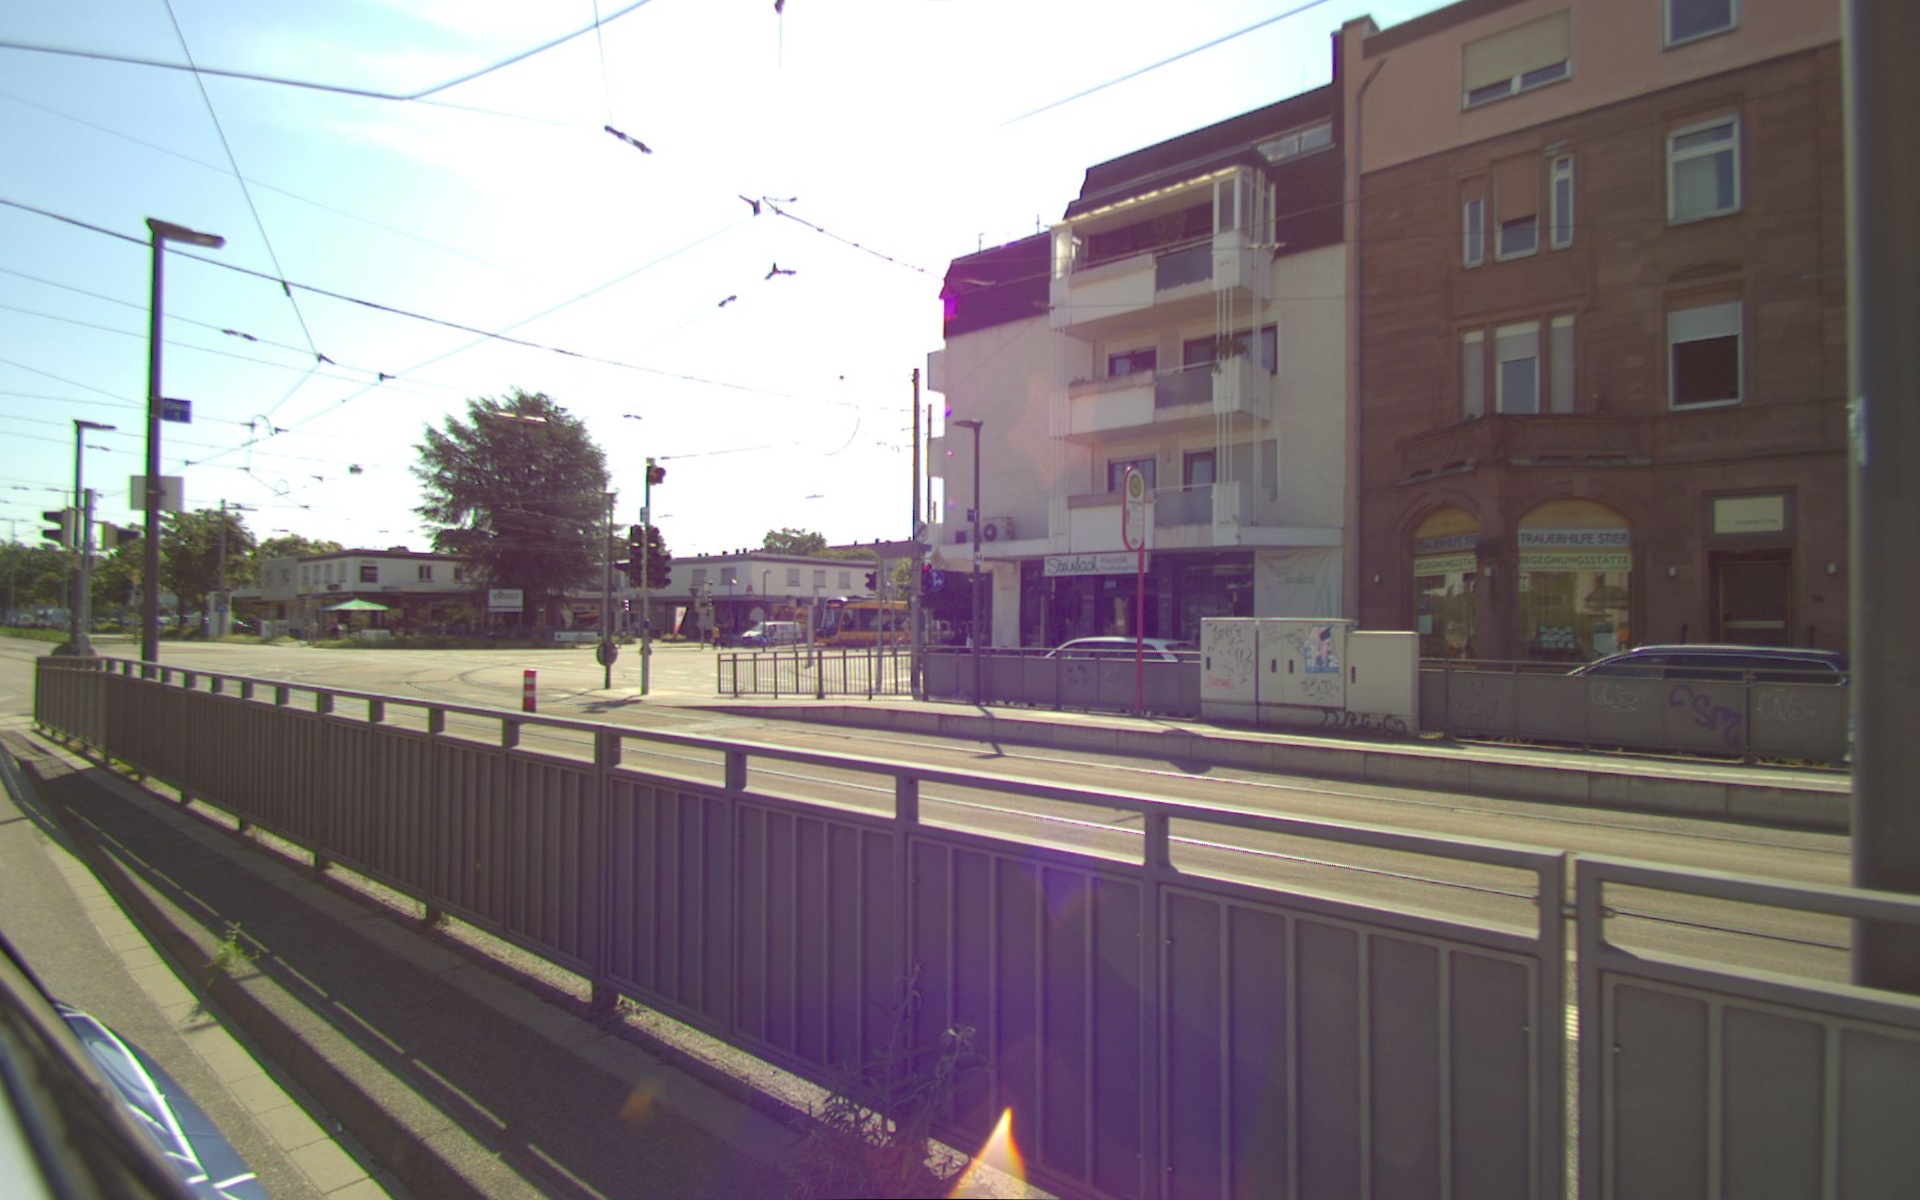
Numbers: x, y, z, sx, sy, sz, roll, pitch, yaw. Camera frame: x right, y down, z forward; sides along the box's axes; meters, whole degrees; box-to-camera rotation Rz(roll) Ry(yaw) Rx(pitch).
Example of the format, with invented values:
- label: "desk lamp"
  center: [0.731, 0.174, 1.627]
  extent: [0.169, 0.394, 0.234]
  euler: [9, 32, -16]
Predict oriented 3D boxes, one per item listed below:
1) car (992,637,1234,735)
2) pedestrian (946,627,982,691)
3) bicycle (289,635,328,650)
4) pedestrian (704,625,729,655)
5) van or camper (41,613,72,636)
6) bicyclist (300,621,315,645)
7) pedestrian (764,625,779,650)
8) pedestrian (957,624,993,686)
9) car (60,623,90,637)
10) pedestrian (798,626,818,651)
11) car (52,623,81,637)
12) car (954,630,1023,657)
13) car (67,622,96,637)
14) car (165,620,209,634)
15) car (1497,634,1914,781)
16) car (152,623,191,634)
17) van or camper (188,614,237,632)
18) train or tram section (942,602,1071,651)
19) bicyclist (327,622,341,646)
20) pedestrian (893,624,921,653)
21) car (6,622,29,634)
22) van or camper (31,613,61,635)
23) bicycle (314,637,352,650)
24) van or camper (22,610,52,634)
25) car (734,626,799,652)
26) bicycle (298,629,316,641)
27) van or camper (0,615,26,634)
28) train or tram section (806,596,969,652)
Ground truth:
- label: "car"
  center: [2.610, 1.410, 17.756]
  extent: [3.959, 1.442, 1.609]
  euler: [-1, -1, 40]
- label: "pedestrian"
  center: [0.107, 1.542, 26.690]
  extent: [0.867, 1.660, 0.681]
  euler: [1, -2, -5]
- label: "bicycle"
  center: [-43.237, 2.829, 67.198]
  extent: [2.100, 0.954, 0.537]
  euler: [2, -2, -31]
- label: "pedestrian"
  center: [-15.425, 2.513, 64.059]
  extent: [0.896, 1.851, 1.185]
  euler: [-1, -3, 41]
- label: "van or camper"
  center: [-105.046, 2.833, 117.655]
  extent: [4.837, 2.652, 2.013]
  euler: [-1, -3, 41]
- label: "bicyclist"
  center: [-43.267, 2.192, 67.112]
  extent: [0.753, 1.570, 0.633]
  euler: [3, -3, -34]
- label: "pedestrian"
  center: [-12.536, 2.503, 67.365]
  extent: [0.784, 1.639, 0.651]
  euler: [-2, -3, 41]
- label: "pedestrian"
  center: [0.411, 1.483, 27.689]
  extent: [0.732, 1.660, 0.671]
  euler: [-1, -3, 40]
- label: "car"
  center: [-96.946, 3.295, 110.874]
  extent: [4.283, 1.572, 1.868]
  euler: [-1, -3, 41]
- label: "pedestrian"
  center: [-10.444, 2.626, 69.608]
  extent: [0.813, 1.693, 1.079]
  euler: [-1, -3, 41]
- label: "car"
  center: [-100.939, 3.402, 114.277]
  extent: [4.230, 1.506, 1.868]
  euler: [-1, -3, 41]
- label: "car"
  center: [1.696, 2.521, 58.996]
  extent: [1.827, 1.511, 4.130]
  euler: [-1, -3, 40]
- label: "car"
  center: [-93.030, 3.128, 107.177]
  extent: [4.285, 1.506, 1.868]
  euler: [-1, 0, 43]
- label: "car"
  center: [-90.144, 3.176, 118.039]
  extent: [1.949, 1.581, 3.702]
  euler: [-1, -3, 39]
- label: "car"
  center: [8.720, 1.165, 12.156]
  extent: [3.809, 1.470, 1.557]
  euler: [-1, -3, 38]
- label: "car"
  center: [-99.452, 3.565, 127.702]
  extent: [1.711, 1.291, 3.579]
  euler: [-1, -2, 39]
- label: "van or camper"
  center: [-120.478, 3.742, 163.205]
  extent: [2.299, 2.751, 6.000]
  euler: [-1, -3, 43]
- label: "train or tram section"
  center: [4.089, 2.227, 82.719]
  extent: [2.767, 3.686, 13.720]
  euler: [-1, -3, 40]
- label: "bicyclist"
  center: [-41.780, 2.252, 67.531]
  extent: [0.753, 1.587, 0.633]
  euler: [2, -2, -34]
- label: "pedestrian"
  center: [-3.444, 2.507, 65.402]
  extent: [1.123, 1.850, 1.418]
  euler: [-1, -3, 43]
- label: "car"
  center: [-132.046, 3.901, 141.805]
  extent: [4.230, 1.572, 1.868]
  euler: [-1, -3, 41]
- label: "van or camper"
  center: [-110.410, 2.885, 122.235]
  extent: [4.837, 2.652, 2.013]
  euler: [-1, -3, 41]
- label: "bicycle"
  center: [-41.855, 2.901, 67.553]
  extent: [2.099, 0.897, 0.577]
  euler: [2, -2, -29]
- label: "van or camper"
  center: [-116.316, 2.773, 127.472]
  extent: [5.278, 3.008, 2.101]
  euler: [-1, -3, 41]
- label: "car"
  center: [-14.329, 2.884, 75.104]
  extent: [1.776, 1.876, 4.596]
  euler: [-1, -2, 41]
- label: "bicycle"
  center: [-53.474, 2.850, 82.895]
  extent: [1.910, 0.990, 0.750]
  euler: [-1, -3, 42]
- label: "van or camper"
  center: [-137.111, 3.531, 146.475]
  extent: [5.450, 2.639, 2.086]
  euler: [-1, -4, 42]
- label: "train or tram section"
  center: [-4.809, 1.805, 72.304]
  extent: [2.767, 3.686, 13.720]
  euler: [-1, -3, 40]
